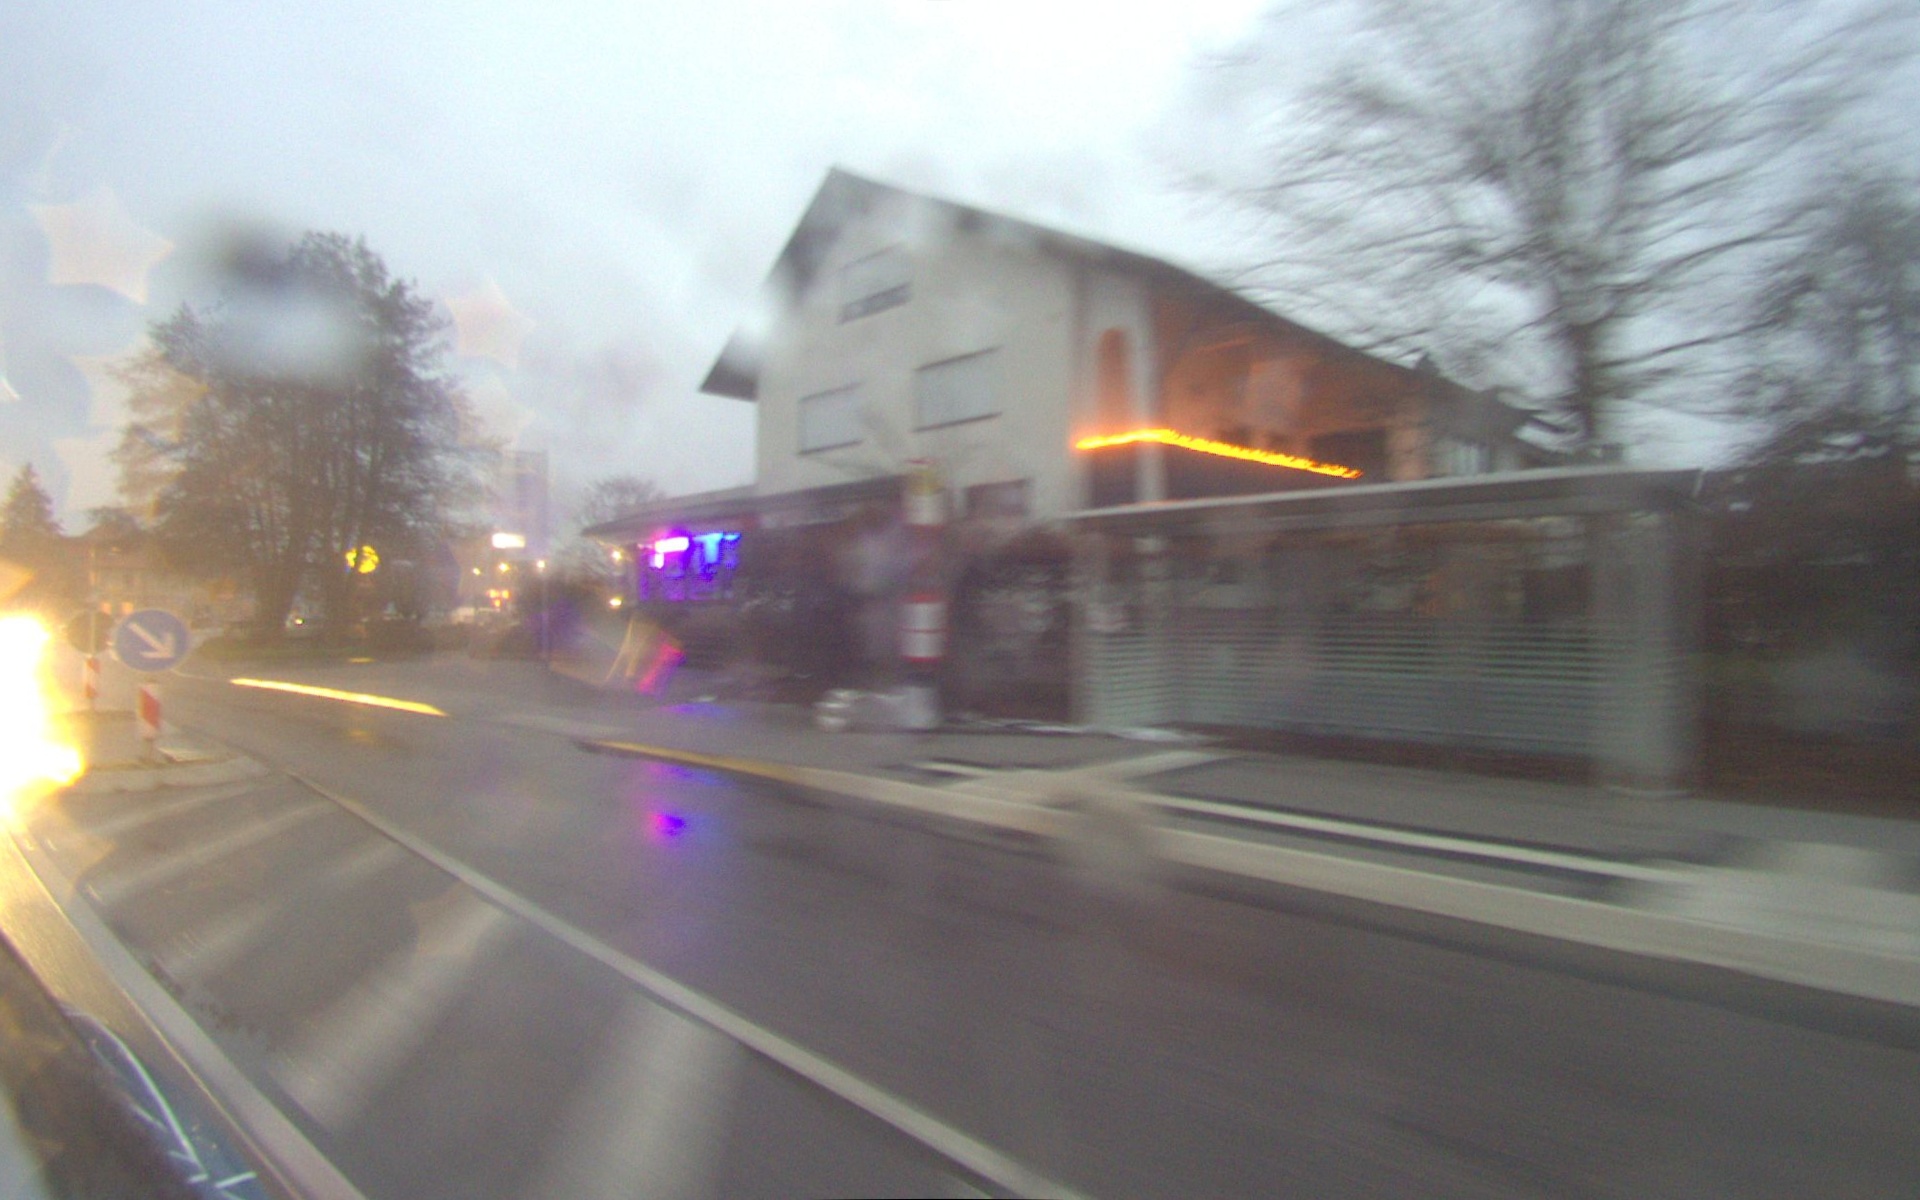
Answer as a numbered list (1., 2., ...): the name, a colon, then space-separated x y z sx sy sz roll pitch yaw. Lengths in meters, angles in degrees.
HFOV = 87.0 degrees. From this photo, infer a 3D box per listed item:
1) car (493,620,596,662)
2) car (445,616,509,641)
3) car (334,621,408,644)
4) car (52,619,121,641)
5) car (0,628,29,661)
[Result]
1. car: -22.180 2.153 54.098 2.126 1.992 4.599 -3 -1 40
2. car: -46.580 2.778 97.634 5.125 2.300 2.220 3 -4 -45
3. car: -46.918 2.568 80.665 2.034 1.725 4.716 -2 -2 44
4. car: -73.135 2.497 84.771 4.363 1.736 1.776 -1 -1 3
5. car: -44.533 2.063 46.808 1.968 1.484 4.006 0 -1 -40
